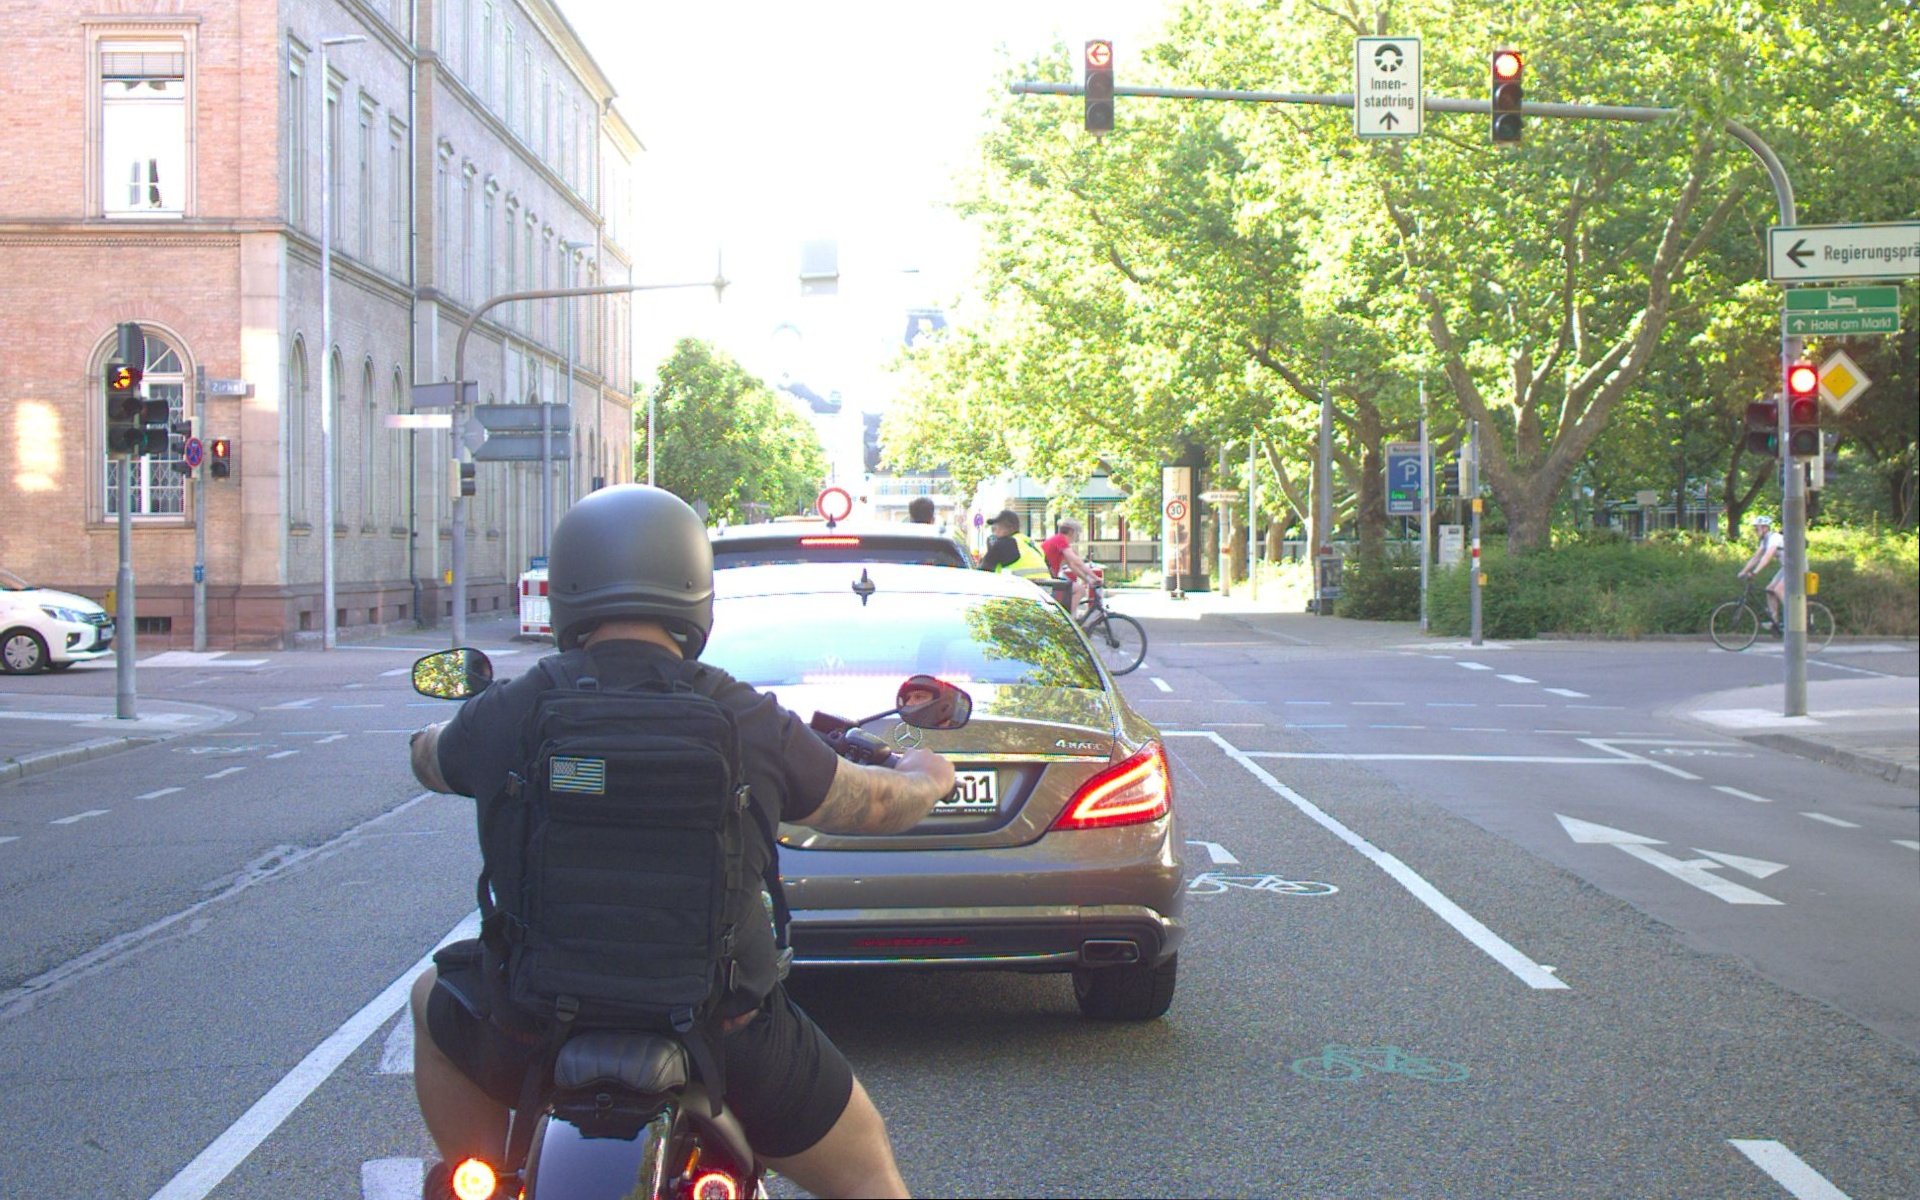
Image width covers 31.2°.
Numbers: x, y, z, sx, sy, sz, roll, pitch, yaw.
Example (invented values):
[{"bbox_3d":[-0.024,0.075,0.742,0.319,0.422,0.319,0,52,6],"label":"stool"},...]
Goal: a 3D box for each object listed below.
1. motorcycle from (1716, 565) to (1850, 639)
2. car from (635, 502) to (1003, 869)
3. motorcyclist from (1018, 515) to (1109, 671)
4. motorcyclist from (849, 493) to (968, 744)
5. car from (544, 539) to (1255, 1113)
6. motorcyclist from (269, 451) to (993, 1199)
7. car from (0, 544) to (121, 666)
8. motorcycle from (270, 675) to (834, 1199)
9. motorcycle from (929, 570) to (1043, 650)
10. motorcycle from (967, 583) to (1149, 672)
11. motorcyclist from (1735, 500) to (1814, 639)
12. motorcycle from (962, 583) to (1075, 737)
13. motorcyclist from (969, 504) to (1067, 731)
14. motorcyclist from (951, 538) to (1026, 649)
[{"bbox_3d":[11.158,0.023,46.626,1.719,0.998,0.416,0,1,4],"label":"motorcycle"},{"bbox_3d":[-0.660,0.371,17.630,1.651,1.646,4.000,1,1,-1],"label":"car"},{"bbox_3d":[1.154,-0.079,38.533,0.985,1.716,0.551,1,0,0],"label":"motorcyclist"},{"bbox_3d":[-0.373,0.128,25.048,0.831,1.782,0.913,1,0,-1],"label":"motorcyclist"},{"bbox_3d":[-0.407,0.570,11.129,1.824,1.481,4.334,1,1,-7],"label":"car"},{"bbox_3d":[-0.466,0.598,5.329,0.990,1.605,1.120,1,0,-1],"label":"motorcyclist"},{"bbox_3d":[-12.013,0.047,40.885,3.744,1.413,1.440,0,1,-3],"label":"car"},{"bbox_3d":[-0.563,0.773,5.423,0.660,1.236,2.058,1,1,-1],"label":"motorcycle"},{"bbox_3d":[0.376,0.131,48.183,0.627,1.093,2.084,1,1,30],"label":"motorcycle"},{"bbox_3d":[1.095,0.308,38.533,2.012,0.958,0.580,1,0,0],"label":"motorcycle"},{"bbox_3d":[11.040,-0.415,46.602,0.983,1.870,0.376,0,0,4],"label":"motorcyclist"},{"bbox_3d":[0.436,0.441,26.768,0.797,1.128,2.236,1,1,-1],"label":"motorcycle"},{"bbox_3d":[0.449,0.132,26.770,0.717,1.737,0.751,1,0,-1],"label":"motorcyclist"},{"bbox_3d":[0.404,-0.093,48.280,0.644,1.532,0.941,1,0,30],"label":"motorcyclist"}]
